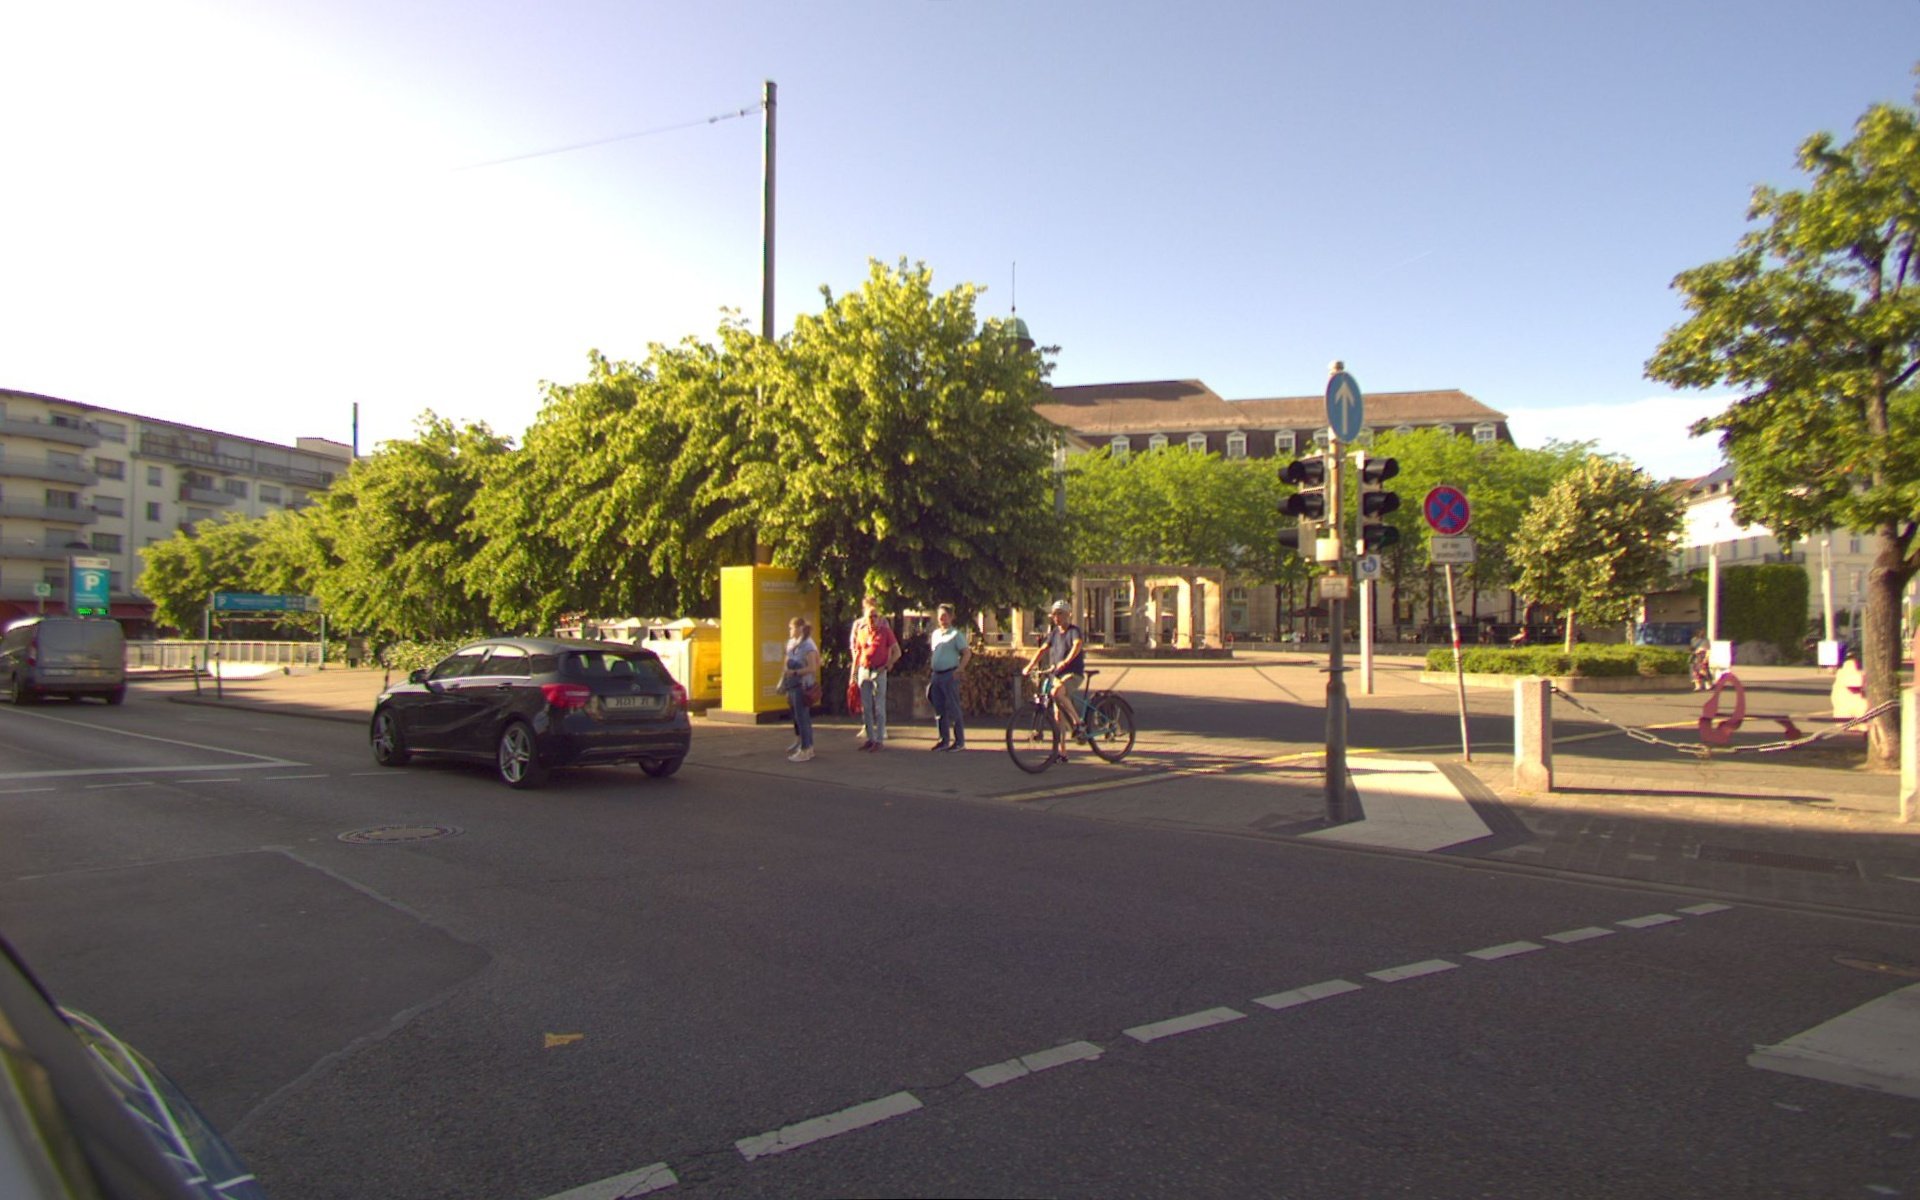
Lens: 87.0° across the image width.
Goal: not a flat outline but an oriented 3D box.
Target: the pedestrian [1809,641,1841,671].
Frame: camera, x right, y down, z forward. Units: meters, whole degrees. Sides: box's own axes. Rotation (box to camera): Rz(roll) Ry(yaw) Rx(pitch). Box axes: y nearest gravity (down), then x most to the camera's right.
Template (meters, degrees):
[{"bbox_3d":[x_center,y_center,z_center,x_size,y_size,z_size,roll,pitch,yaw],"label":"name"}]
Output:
[{"bbox_3d":[43.432,2.787,50.807,0.938,1.476,0.776,0,-2,14],"label":"pedestrian"}]

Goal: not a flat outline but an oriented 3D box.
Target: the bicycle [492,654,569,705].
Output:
[{"bbox_3d":[-9.082,1.670,21.439,0.363,1.010,1.541,-2,-3,36],"label":"bicycle"}]

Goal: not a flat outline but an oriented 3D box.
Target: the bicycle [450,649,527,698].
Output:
[{"bbox_3d":[-10.537,1.627,22.632,1.507,1.039,0.365,1,-3,-39],"label":"bicycle"}]

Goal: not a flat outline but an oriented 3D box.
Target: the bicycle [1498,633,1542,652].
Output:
[{"bbox_3d":[26.689,2.013,48.256,1.697,0.877,0.522,-1,-2,15],"label":"bicycle"}]

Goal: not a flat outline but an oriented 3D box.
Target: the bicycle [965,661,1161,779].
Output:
[{"bbox_3d":[1.179,1.297,11.376,2.139,1.080,0.766,-2,-1,-32],"label":"bicycle"}]

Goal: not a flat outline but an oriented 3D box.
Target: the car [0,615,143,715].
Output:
[{"bbox_3d":[-19.959,1.416,22.127,4.774,1.962,1.975,-2,-5,36],"label":"car"}]

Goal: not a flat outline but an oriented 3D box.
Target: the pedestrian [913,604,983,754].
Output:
[{"bbox_3d":[-0.146,0.973,12.700,0.775,1.825,0.587,-1,-2,11],"label":"pedestrian"}]

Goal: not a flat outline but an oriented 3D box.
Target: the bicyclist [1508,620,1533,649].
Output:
[{"bbox_3d":[26.706,1.655,48.232,0.905,1.355,0.432,-1,-2,15],"label":"bicyclist"}]

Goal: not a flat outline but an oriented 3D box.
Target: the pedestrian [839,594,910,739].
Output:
[{"bbox_3d":[-1.177,0.896,13.901,0.782,1.933,0.602,-2,-3,35],"label":"pedestrian"}]

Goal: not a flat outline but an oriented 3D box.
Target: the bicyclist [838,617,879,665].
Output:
[{"bbox_3d":[-3.515,1.408,34.984,0.928,1.621,1.173,1,-3,-35],"label":"bicyclist"}]

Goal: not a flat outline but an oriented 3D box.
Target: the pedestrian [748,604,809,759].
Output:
[{"bbox_3d":[-2.276,0.999,12.679,0.640,1.871,0.627,1,-2,-22],"label":"pedestrian"}]

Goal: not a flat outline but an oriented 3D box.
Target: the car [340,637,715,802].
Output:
[{"bbox_3d":[-4.711,1.136,10.804,4.246,1.434,1.733,-2,-4,36],"label":"car"}]

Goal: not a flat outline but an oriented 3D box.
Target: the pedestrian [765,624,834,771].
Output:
[{"bbox_3d":[-1.924,1.135,12.087,0.676,1.686,0.699,1,-2,-22],"label":"pedestrian"}]

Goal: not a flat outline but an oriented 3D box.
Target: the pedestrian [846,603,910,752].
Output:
[{"bbox_3d":[-1.044,0.959,12.795,0.771,1.825,0.590,0,-2,-7],"label":"pedestrian"}]

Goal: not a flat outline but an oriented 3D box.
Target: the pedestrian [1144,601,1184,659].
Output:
[{"bbox_3d":[10.728,1.582,53.272,1.526,3.001,1.728,-2,-3,34],"label":"pedestrian"}]

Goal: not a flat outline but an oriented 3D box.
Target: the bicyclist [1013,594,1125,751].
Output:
[{"bbox_3d":[1.207,0.786,11.352,0.792,1.661,0.997,1,-2,-31],"label":"bicyclist"}]

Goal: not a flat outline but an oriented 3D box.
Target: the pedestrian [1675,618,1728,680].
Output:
[{"bbox_3d":[19.748,1.282,26.950,1.059,1.608,0.874,1,-2,-40],"label":"pedestrian"}]

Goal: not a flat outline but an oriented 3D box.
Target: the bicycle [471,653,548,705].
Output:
[{"bbox_3d":[-9.583,1.662,21.574,0.363,1.039,1.531,-2,-3,36],"label":"bicycle"}]
